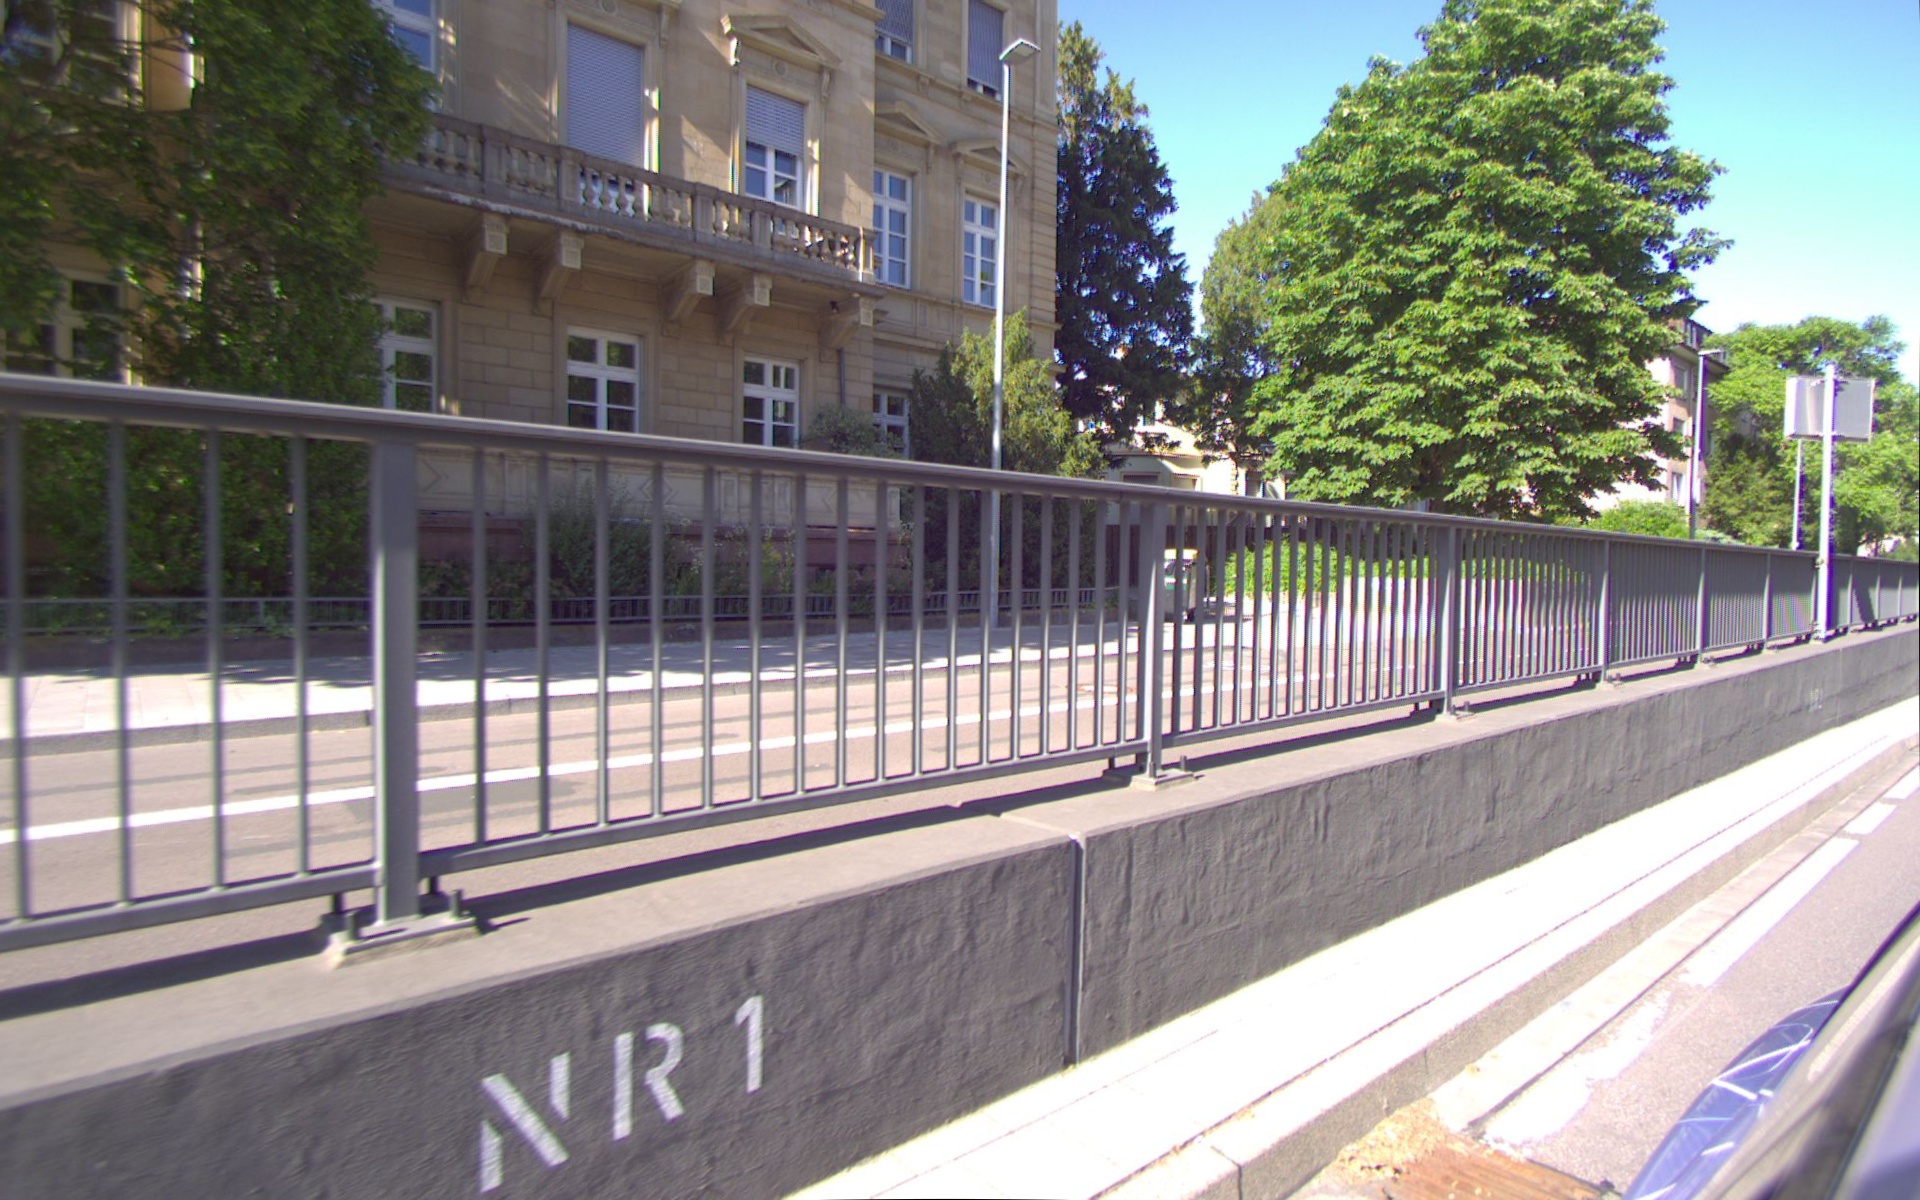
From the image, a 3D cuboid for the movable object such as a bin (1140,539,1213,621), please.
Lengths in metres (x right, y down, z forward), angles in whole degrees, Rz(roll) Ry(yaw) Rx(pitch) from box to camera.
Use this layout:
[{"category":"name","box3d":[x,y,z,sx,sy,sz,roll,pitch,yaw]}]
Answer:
[{"category":"movable object such as a bin","box3d":[4.025,-0.379,18.748,0.964,1.415,1.276,4,2,27]}]
